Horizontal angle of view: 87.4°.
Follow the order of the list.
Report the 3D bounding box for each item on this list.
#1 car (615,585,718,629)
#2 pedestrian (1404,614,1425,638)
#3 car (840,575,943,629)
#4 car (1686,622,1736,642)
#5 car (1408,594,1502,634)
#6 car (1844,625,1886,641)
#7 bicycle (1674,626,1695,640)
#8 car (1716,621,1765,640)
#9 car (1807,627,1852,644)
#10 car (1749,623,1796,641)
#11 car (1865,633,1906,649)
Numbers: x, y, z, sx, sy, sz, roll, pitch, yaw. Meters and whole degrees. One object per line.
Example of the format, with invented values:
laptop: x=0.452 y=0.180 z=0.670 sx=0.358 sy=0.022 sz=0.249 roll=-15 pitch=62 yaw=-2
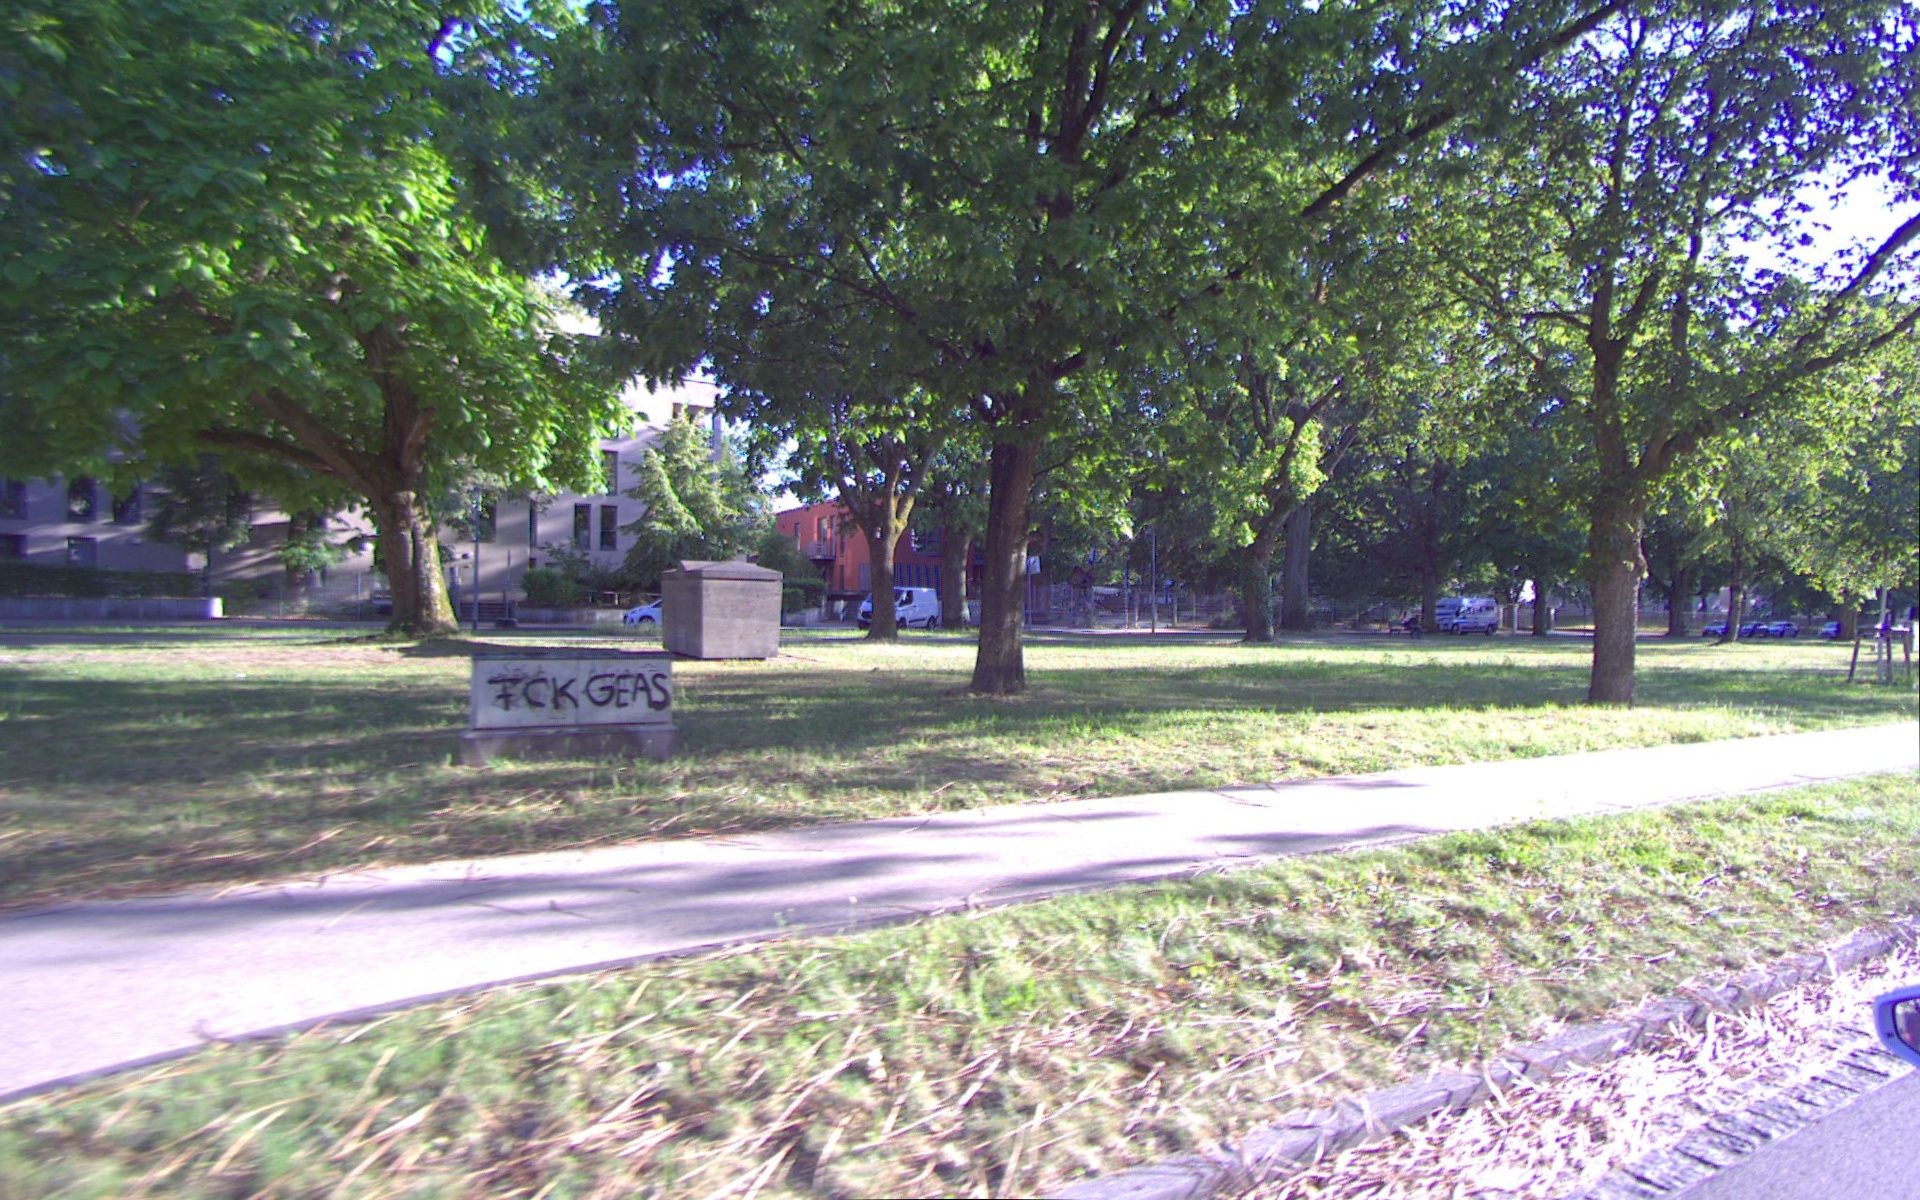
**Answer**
car: x=-11.998 y=0.286 z=41.071 sx=3.694 sy=1.639 sz=1.984 roll=2 pitch=0 yaw=-30
pedestrian: x=19.427 y=1.111 z=42.971 sx=0.601 sy=1.000 sz=0.547 roll=2 pitch=-1 yaw=-19
car: x=-2.939 y=0.085 z=44.300 sx=2.626 sy=2.142 sz=4.968 roll=2 pitch=0 yaw=21
car: x=64.438 y=2.748 z=86.162 sx=3.952 sy=1.528 sz=1.985 roll=2 pitch=-1 yaw=-29
car: x=33.335 y=0.969 z=67.587 sx=6.247 sy=2.496 sz=2.706 roll=2 pitch=-1 yaw=-31
car: x=91.546 y=3.325 z=101.565 sx=4.066 sy=1.528 sz=1.985 roll=2 pitch=-1 yaw=-29
bicycle: x=62.539 y=2.860 z=86.669 sx=2.308 sy=1.191 sz=0.653 roll=2 pitch=-1 yaw=-33
car: x=68.617 y=2.675 z=88.289 sx=3.952 sy=1.528 sz=1.985 roll=2 pitch=-1 yaw=-29
car: x=83.730 y=3.448 z=96.711 sx=4.066 sy=1.528 sz=1.985 roll=2 pitch=-1 yaw=-29
car: x=73.602 y=2.918 z=91.007 sx=4.066 sy=1.528 sz=1.985 roll=2 pitch=-1 yaw=-29
car: x=96.158 y=4.279 z=104.359 sx=4.066 sy=1.528 sz=1.985 roll=2 pitch=-1 yaw=-29
